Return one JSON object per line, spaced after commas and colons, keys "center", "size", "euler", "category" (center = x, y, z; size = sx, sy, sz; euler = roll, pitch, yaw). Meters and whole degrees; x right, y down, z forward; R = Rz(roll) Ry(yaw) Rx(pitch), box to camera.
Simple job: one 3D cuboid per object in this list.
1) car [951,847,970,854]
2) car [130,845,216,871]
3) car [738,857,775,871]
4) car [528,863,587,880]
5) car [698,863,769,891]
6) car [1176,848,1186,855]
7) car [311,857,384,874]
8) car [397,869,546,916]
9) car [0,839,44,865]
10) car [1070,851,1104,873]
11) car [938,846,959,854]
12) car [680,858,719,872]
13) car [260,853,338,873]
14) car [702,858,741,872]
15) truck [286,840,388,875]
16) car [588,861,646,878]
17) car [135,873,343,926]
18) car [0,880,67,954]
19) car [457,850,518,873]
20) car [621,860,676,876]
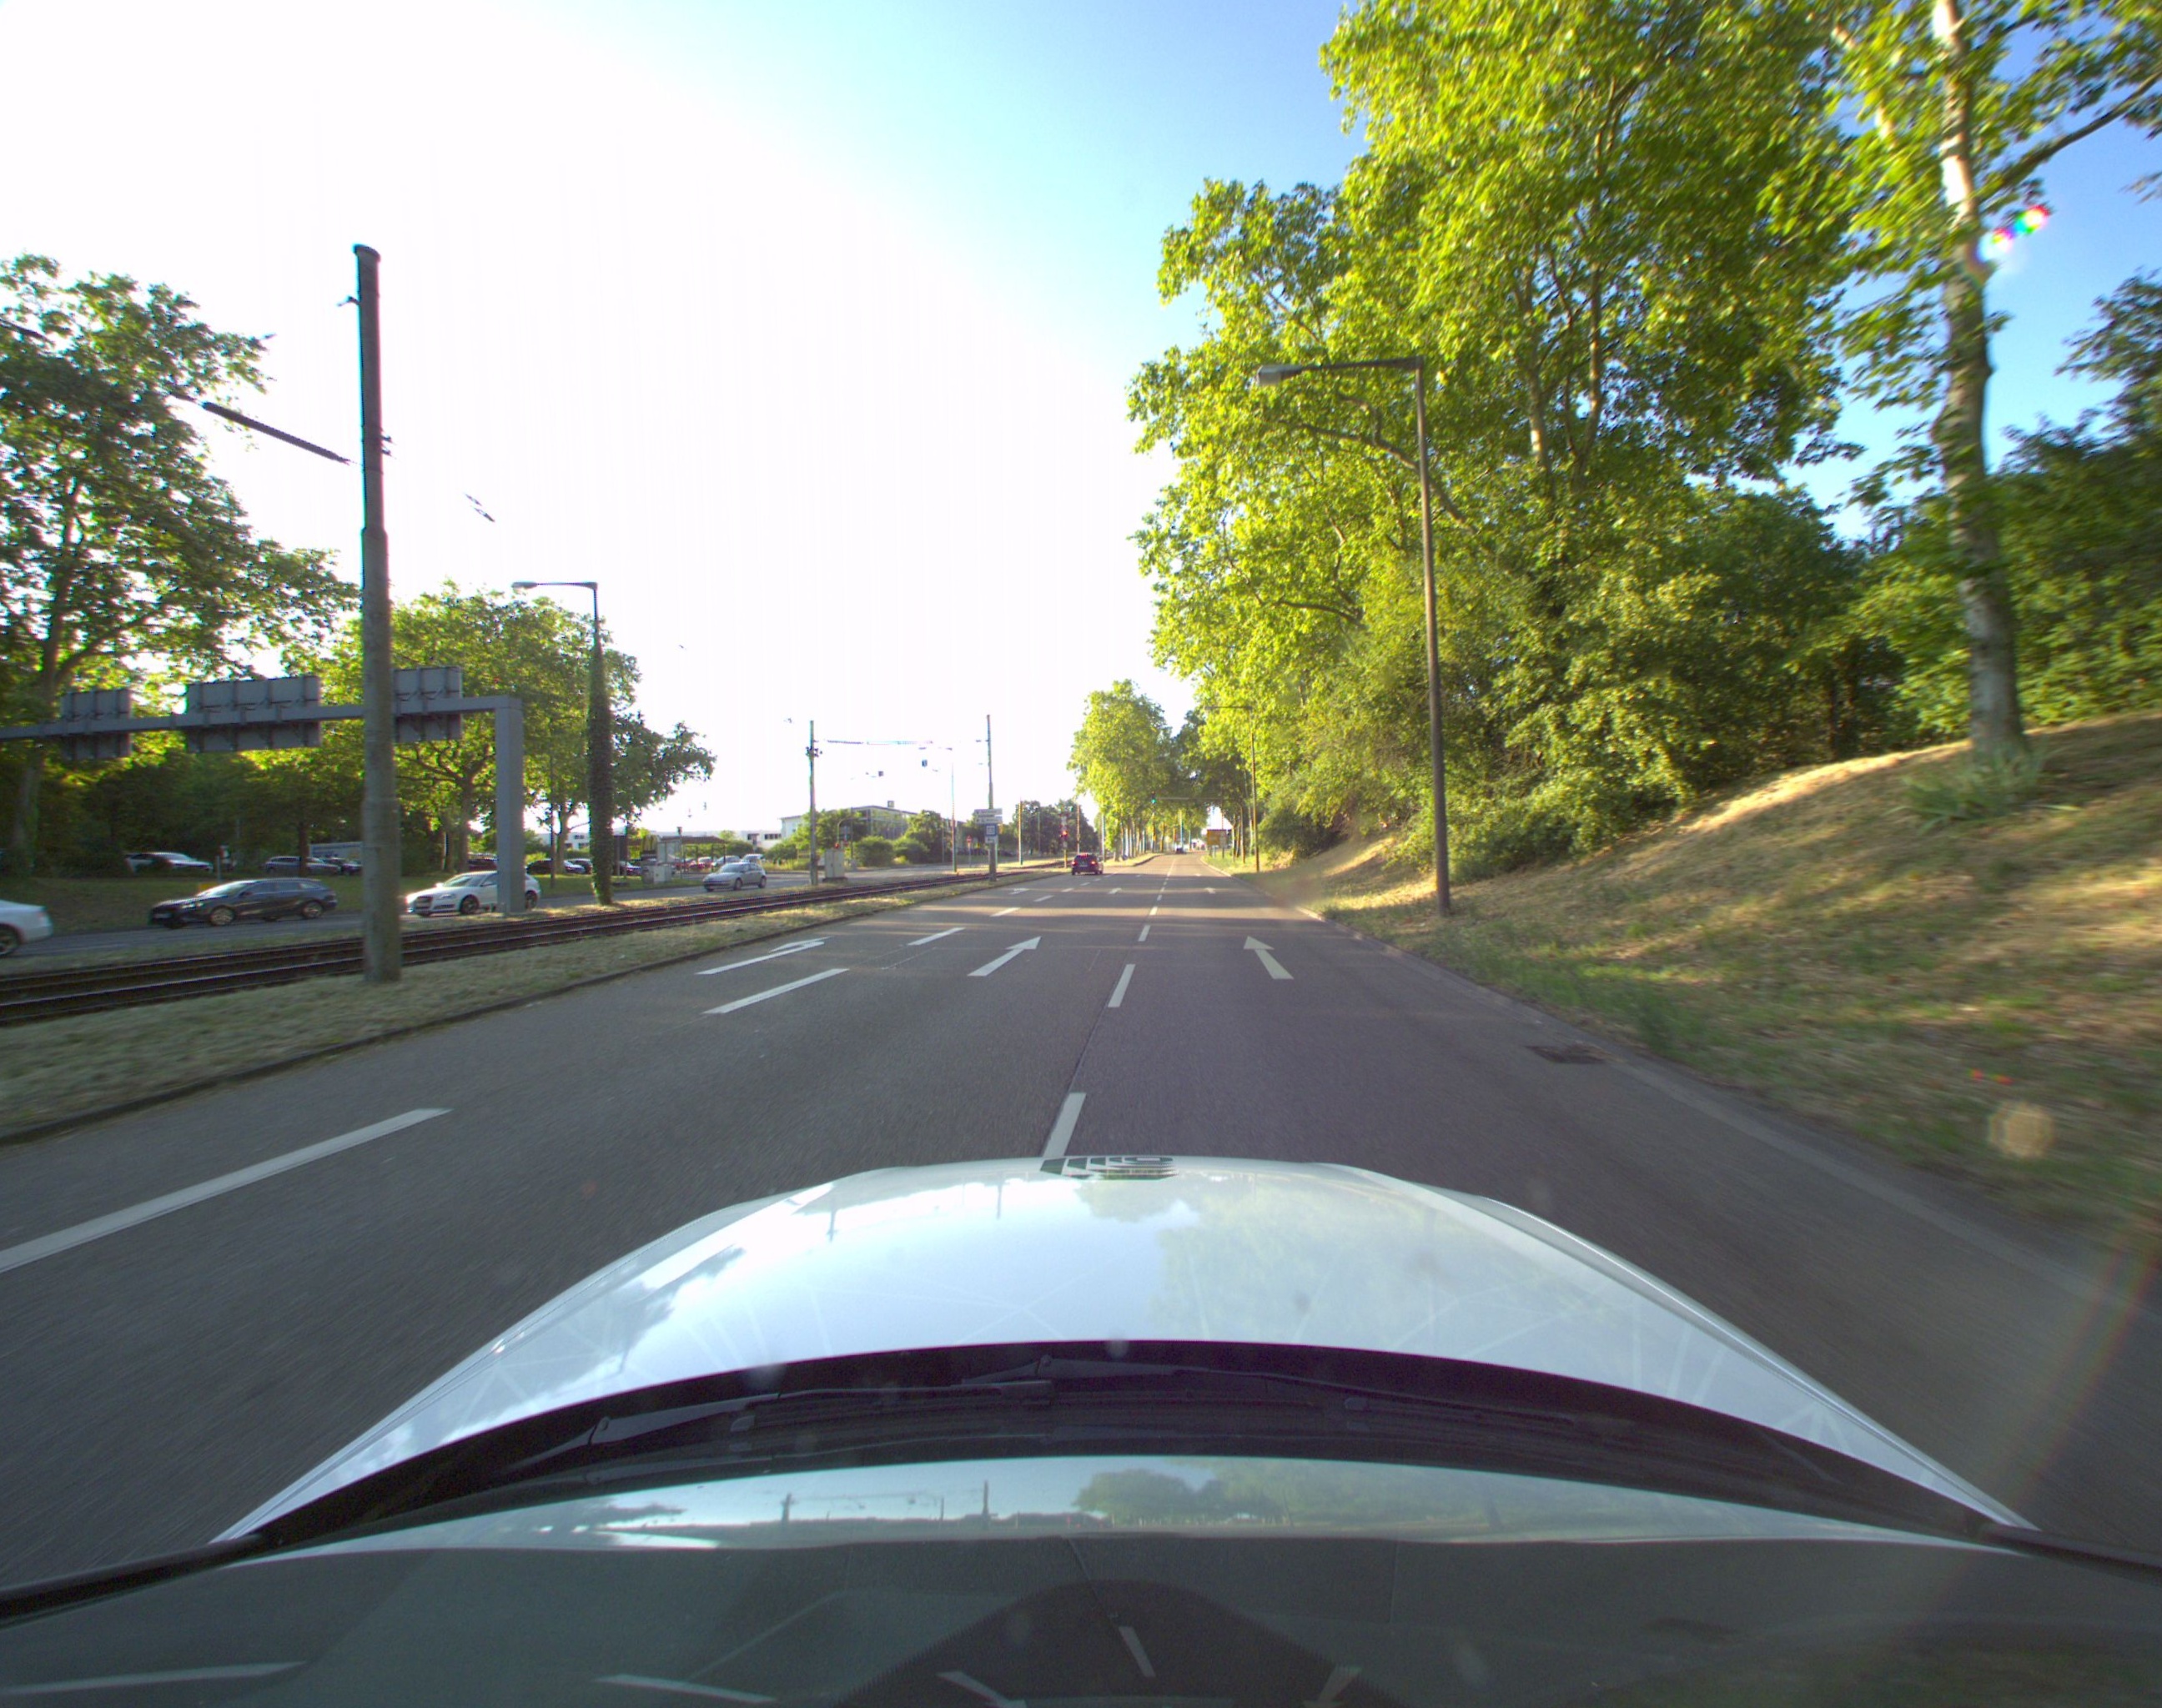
{"center": [-22.574, -0.697, 152.727], "size": [3.129, 1.391, 1.457], "euler": [0, 0, 3], "category": "car"}
{"center": [-55.120, 0.233, 49.451], "size": [3.957, 1.530, 1.869], "euler": [0, 0, 15], "category": "car"}
{"center": [-34.929, 1.105, 87.827], "size": [1.830, 1.442, 4.011], "euler": [0, 0, 10], "category": "car"}
{"center": [-44.276, 1.473, 68.906], "size": [4.032, 1.387, 1.788], "euler": [0, 0, 8], "category": "car"}
{"center": [-18.773, 1.216, 44.200], "size": [1.644, 1.416, 4.267], "euler": [-1, 0, 7], "category": "car"}
{"center": [20.837, -0.575, 170.054], "size": [1.780, 1.403, 3.701], "euler": [-1, -1, 12], "category": "car"}
{"center": [-53.991, 0.852, 59.960], "size": [3.968, 1.260, 1.676], "euler": [0, 0, 5], "category": "car"}
{"center": [-20.890, 1.263, 28.142], "size": [1.645, 1.416, 4.265], "euler": [-1, 0, 5], "category": "car"}
{"center": [-55.993, -0.089, 41.961], "size": [3.491, 1.332, 1.527], "euler": [0, 0, 7], "category": "car"}
{"center": [0.431, 0.553, 55.266], "size": [1.782, 1.403, 3.697], "euler": [-1, 0, 8], "category": "car"}
{"center": [-21.900, -0.623, 134.338], "size": [3.129, 1.391, 1.457], "euler": [0, 0, 3], "category": "car"}
{"center": [-41.447, 1.201, 88.554], "size": [1.830, 1.442, 4.011], "euler": [0, 0, 10], "category": "car"}
{"center": [-54.448, 0.624, 56.709], "size": [3.968, 1.372, 1.676], "euler": [0, 0, 5], "category": "car"}
{"center": [-38.698, 1.137, 87.776], "size": [1.830, 1.442, 4.011], "euler": [0, 0, 10], "category": "car"}
{"center": [-73.993, 0.323, 81.018], "size": [8.243, 3.388, 2.740], "euler": [0, 0, 7], "category": "truck"}
{"center": [-38.817, 1.301, 68.162], "size": [4.027, 1.387, 1.790], "euler": [0, 0, 13], "category": "car"}
{"center": [-27.729, 1.440, 27.089], "size": [1.829, 1.481, 4.608], "euler": [0, 0, 6], "category": "car"}
{"center": [-22.133, 1.258, 14.630], "size": [1.829, 1.416, 4.607], "euler": [-1, 0, 5], "category": "car"}
{"center": [-50.548, 0.625, 69.398], "size": [3.963, 1.860, 2.005], "euler": [-1, 0, 9], "category": "car"}
{"center": [-37.947, 1.227, 71.434], "size": [4.027, 1.387, 1.790], "euler": [0, 0, 13], "category": "car"}
